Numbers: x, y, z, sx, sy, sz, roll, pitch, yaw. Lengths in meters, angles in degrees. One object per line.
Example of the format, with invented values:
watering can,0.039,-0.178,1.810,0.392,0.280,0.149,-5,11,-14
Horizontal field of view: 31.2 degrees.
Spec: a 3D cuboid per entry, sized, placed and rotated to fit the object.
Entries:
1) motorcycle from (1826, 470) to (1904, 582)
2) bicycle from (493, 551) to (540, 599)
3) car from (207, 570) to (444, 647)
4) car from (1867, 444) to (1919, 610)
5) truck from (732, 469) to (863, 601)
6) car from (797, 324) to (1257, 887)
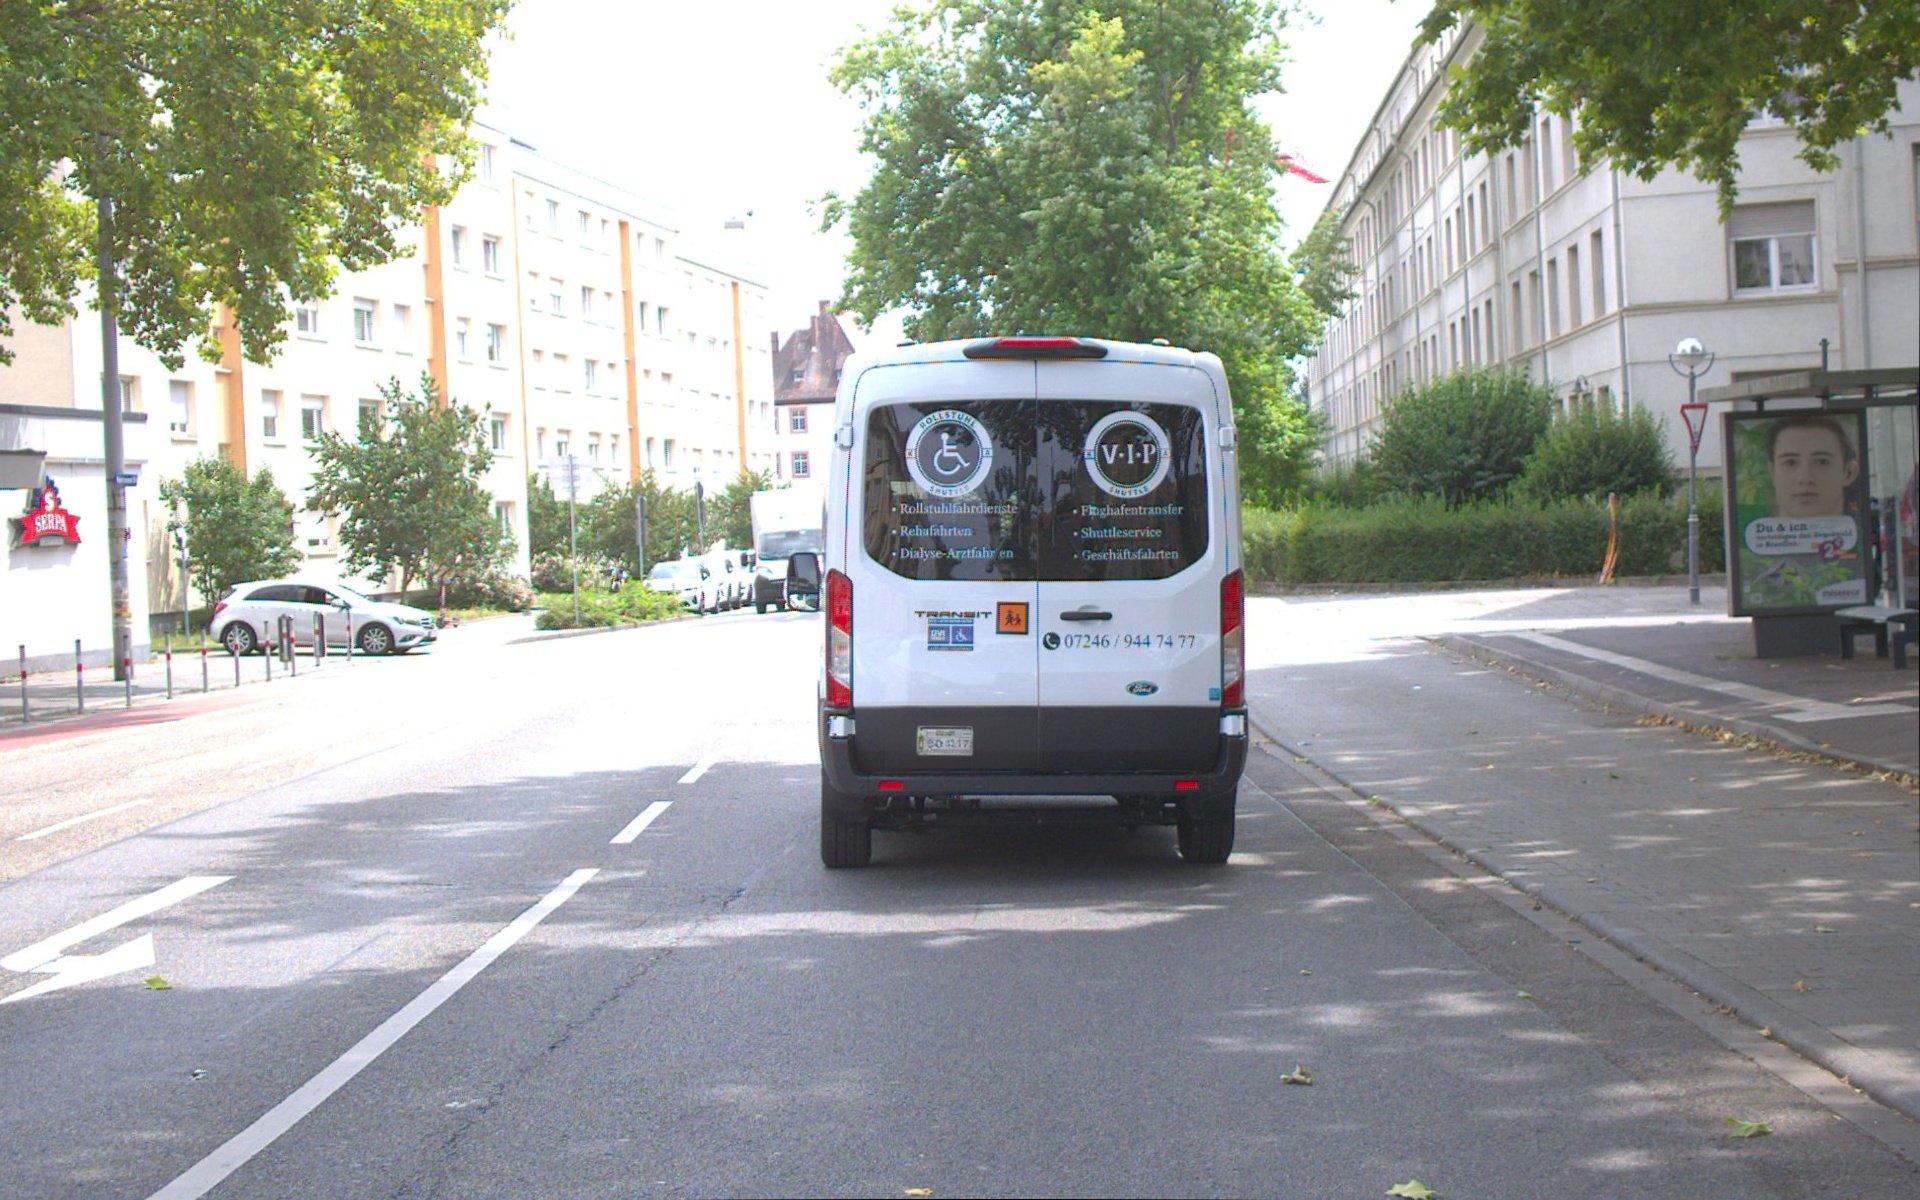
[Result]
motorcycle,12.690,-1.052,48.243,0.832,1.456,2.305,-2,3,11
bicycle,-12.580,-0.713,97.569,0.579,1.246,1.933,-2,2,14
car,-12.210,0.157,66.284,4.172,1.446,1.849,0,1,5
car,11.069,-0.859,37.436,1.934,1.700,4.327,-2,1,19
truck,-4.136,-1.713,88.895,2.541,3.096,7.020,-4,1,3
car,0.367,-0.030,17.808,2.070,2.531,4.635,0,1,2
